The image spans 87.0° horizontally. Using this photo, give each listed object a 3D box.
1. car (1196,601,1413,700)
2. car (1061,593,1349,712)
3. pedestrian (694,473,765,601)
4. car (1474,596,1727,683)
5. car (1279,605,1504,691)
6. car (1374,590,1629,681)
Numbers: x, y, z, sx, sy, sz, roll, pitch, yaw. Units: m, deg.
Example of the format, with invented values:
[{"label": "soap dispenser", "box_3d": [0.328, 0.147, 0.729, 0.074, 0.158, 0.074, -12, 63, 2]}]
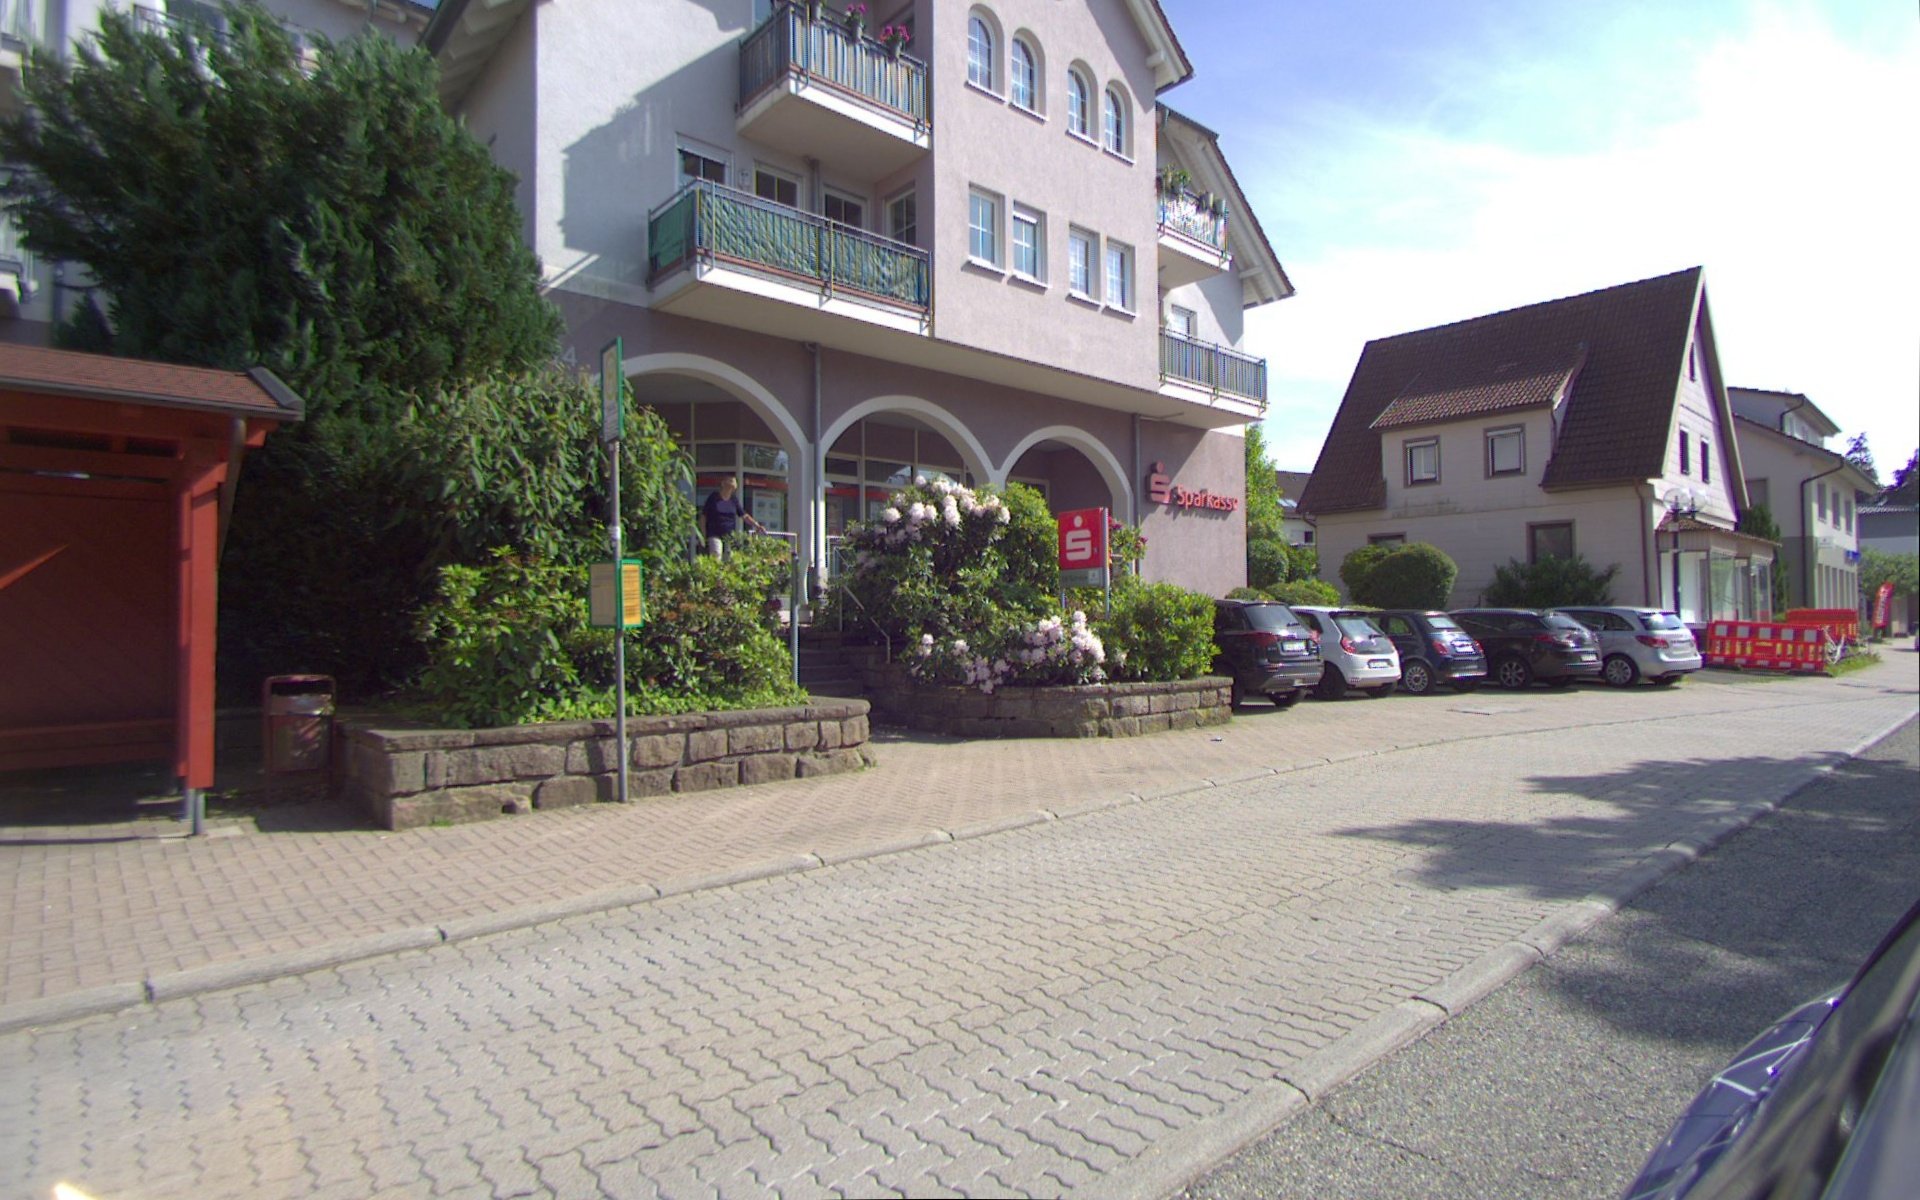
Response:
[{"label": "car", "box_3d": [5.872, 0.790, 17.517, 1.597, 1.487, 3.245, 1, 0, -34]}, {"label": "car", "box_3d": [3.619, 0.687, 15.509, 1.847, 1.568, 3.996, 1, 0, -39]}, {"label": "pedestrian", "box_3d": [-3.291, -0.874, 14.454, 0.743, 1.744, 0.614, 3, -1, -39]}, {"label": "car", "box_3d": [12.749, 0.734, 20.389, 1.923, 1.578, 3.878, 1, -1, -29]}, {"label": "car", "box_3d": [7.912, 0.845, 18.818, 1.552, 1.436, 3.570, 1, -2, -34]}, {"label": "car", "box_3d": [10.242, 0.668, 19.452, 1.703, 1.569, 4.002, 1, -2, -31]}]
